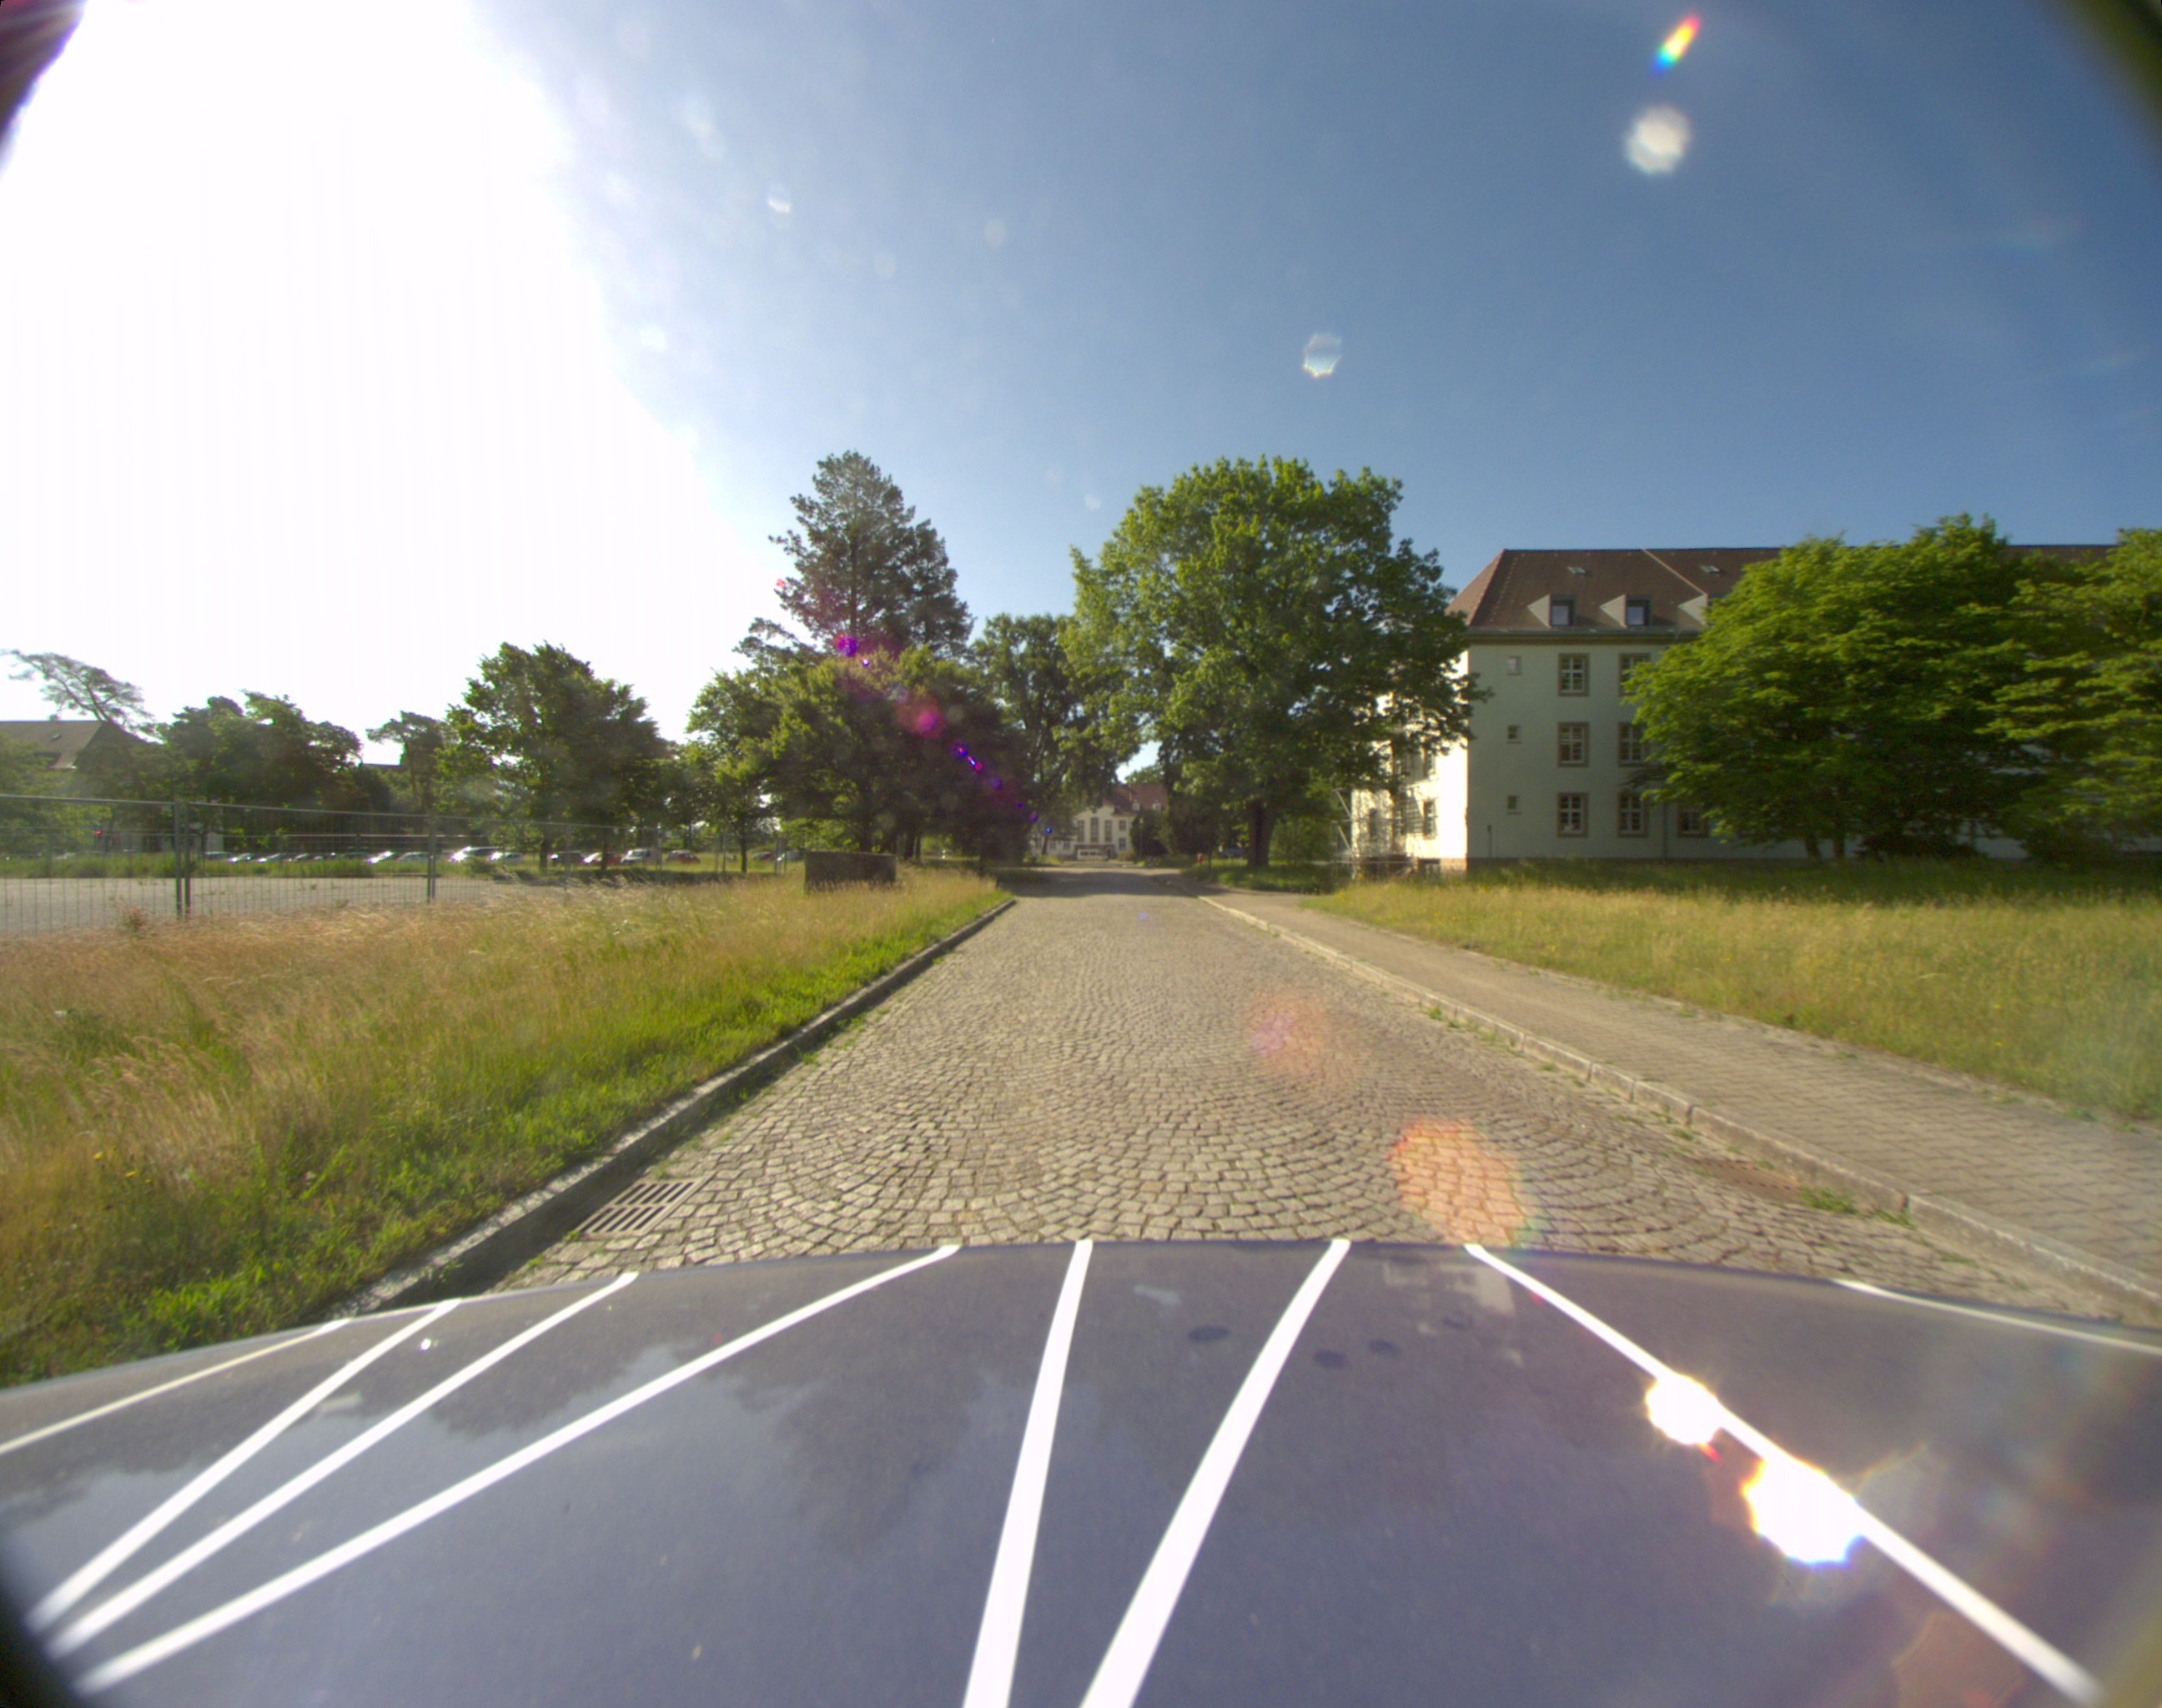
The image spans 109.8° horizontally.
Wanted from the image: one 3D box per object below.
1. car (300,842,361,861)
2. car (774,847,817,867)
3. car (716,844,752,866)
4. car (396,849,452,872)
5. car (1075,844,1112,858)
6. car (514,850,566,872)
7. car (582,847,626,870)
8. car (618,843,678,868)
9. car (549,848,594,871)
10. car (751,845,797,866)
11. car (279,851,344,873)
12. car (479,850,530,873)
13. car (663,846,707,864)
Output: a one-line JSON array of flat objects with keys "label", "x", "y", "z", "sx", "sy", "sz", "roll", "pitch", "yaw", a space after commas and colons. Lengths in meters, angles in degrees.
[{"label": "car", "x": -69.543, "y": -0.255, "z": 70.450, "sx": 1.741, "sy": 1.649, "sz": 3.851, "roll": 0, "pitch": 1, "yaw": 2}, {"label": "car", "x": -26.258, "y": 0.259, "z": 70.098, "sx": 2.245, "sy": 1.828, "sz": 4.349, "roll": 0, "pitch": 1, "yaw": 2}, {"label": "car", "x": -32.520, "y": 0.041, "z": 71.271, "sx": 1.741, "sy": 2.002, "sz": 3.619, "roll": 0, "pitch": 1, "yaw": 0}, {"label": "car", "x": -60.981, "y": 0.564, "z": 70.594, "sx": 1.741, "sy": 2.002, "sz": 3.851, "roll": 0, "pitch": 1, "yaw": 2}, {"label": "car", "x": 2.228, "y": -0.478, "z": 133.209, "sx": 6.444, "sy": 2.452, "sz": 2.463, "roll": 0, "pitch": 1, "yaw": 2}, {"label": "car", "x": -50.911, "y": 0.646, "z": 71.575, "sx": 1.999, "sy": 2.002, "sz": 3.999, "roll": 0, "pitch": 1, "yaw": -1}, {"label": "car", "x": -44.197, "y": 0.393, "z": 70.466, "sx": 1.741, "sy": 2.002, "sz": 3.619, "roll": 0, "pitch": 1, "yaw": 0}, {"label": "car", "x": -40.419, "y": 0.099, "z": 71.174, "sx": 1.998, "sy": 2.002, "sz": 6.032, "roll": -2, "pitch": 2, "yaw": 1}, {"label": "car", "x": -47.006, "y": 0.482, "z": 70.172, "sx": 1.741, "sy": 2.002, "sz": 3.619, "roll": 0, "pitch": 1, "yaw": 0}, {"label": "car", "x": -28.609, "y": 0.116, "z": 70.944, "sx": 2.245, "sy": 1.828, "sz": 4.350, "roll": 0, "pitch": 1, "yaw": 5}, {"label": "car", "x": -72.013, "y": 0.692, "z": 71.200, "sx": 1.998, "sy": 2.002, "sz": 3.999, "roll": 0, "pitch": 1, "yaw": 0}, {"label": "car", "x": -53.213, "y": 0.656, "z": 70.194, "sx": 1.741, "sy": 2.002, "sz": 3.851, "roll": 0, "pitch": 1, "yaw": 0}, {"label": "car", "x": -36.649, "y": 0.087, "z": 70.429, "sx": 1.998, "sy": 1.642, "sz": 3.999, "roll": 0, "pitch": 1, "yaw": 0}]
